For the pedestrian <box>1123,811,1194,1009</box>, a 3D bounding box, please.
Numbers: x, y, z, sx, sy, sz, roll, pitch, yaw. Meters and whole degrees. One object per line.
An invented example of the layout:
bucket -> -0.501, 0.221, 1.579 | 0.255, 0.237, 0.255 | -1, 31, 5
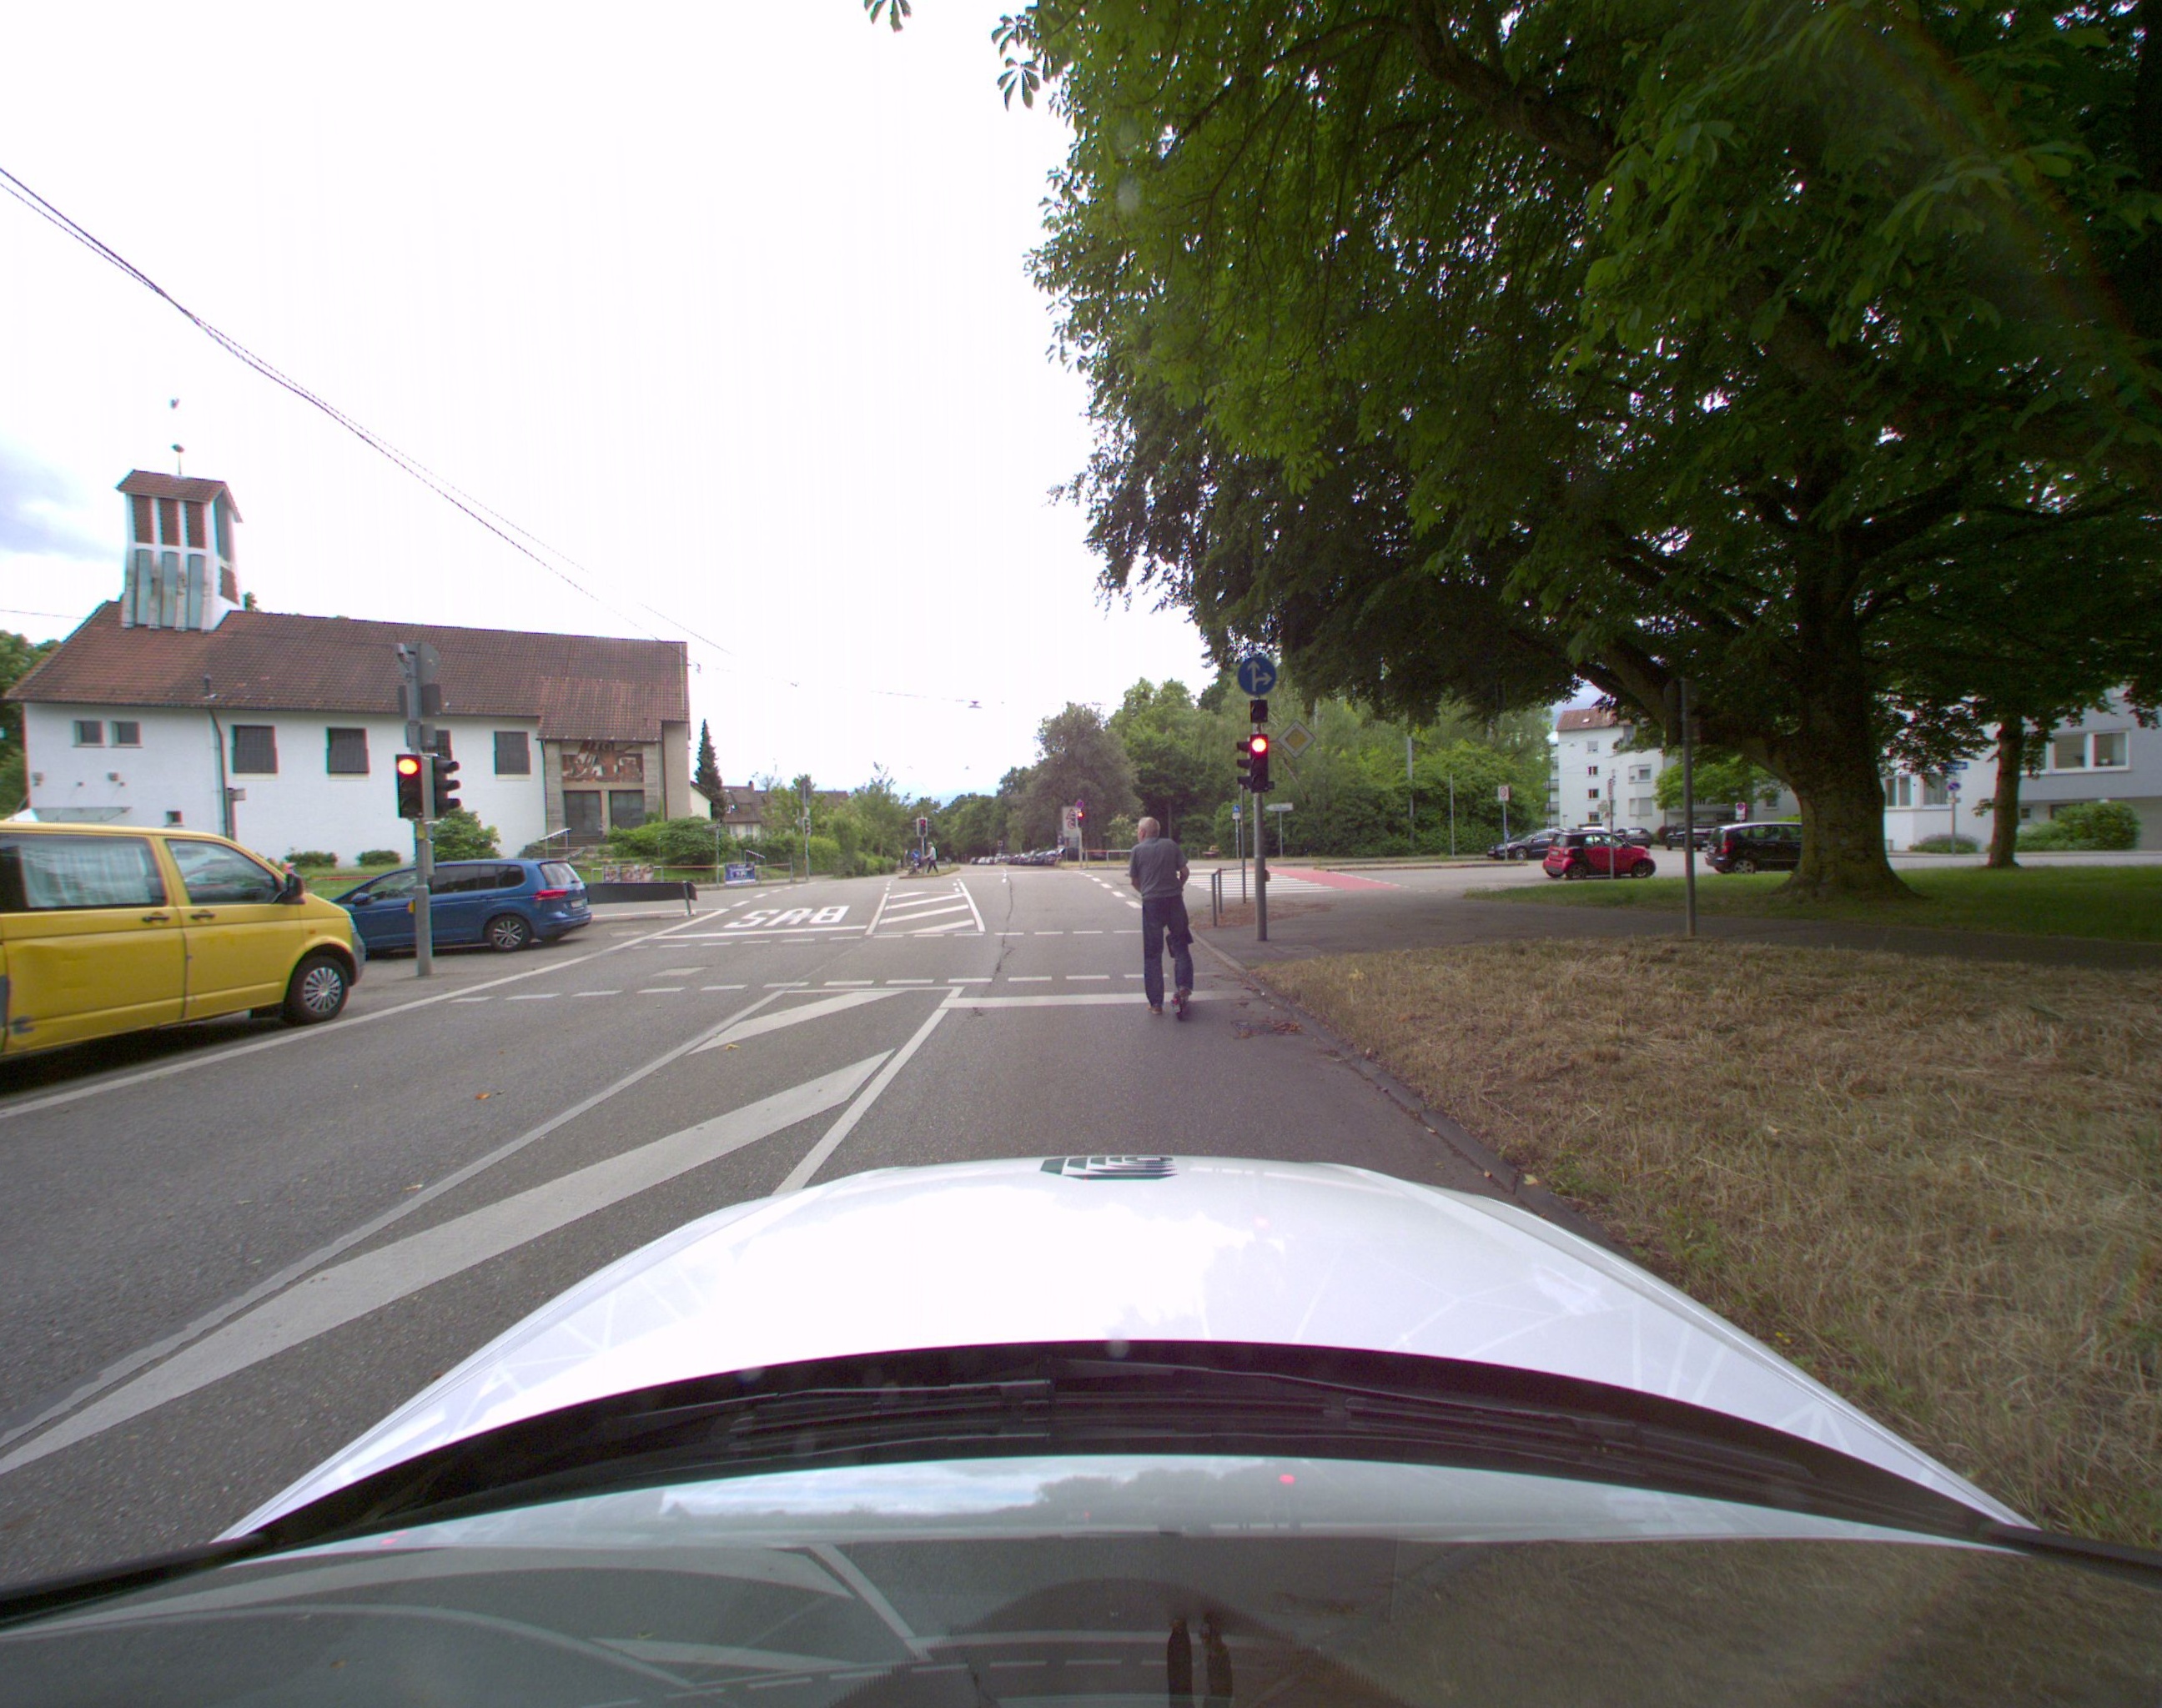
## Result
pedestrian -> 0.744, 0.520, 7.729 | 0.569, 1.813, 0.421 | -2, 0, 10

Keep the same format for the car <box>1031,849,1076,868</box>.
car -> -2.603, 0.427, 77.057 | 3.857, 1.610, 1.715 | -3, 1, -22

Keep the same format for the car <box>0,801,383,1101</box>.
car -> -8.300, 0.682, 6.390 | 1.880, 2.013, 4.558 | -2, 0, -5

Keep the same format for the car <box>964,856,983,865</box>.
car -> -23.346, 1.360, 176.494 | 3.856, 1.610, 1.716 | -3, 1, -21

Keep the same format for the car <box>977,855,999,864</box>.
car -> -18.174, 1.062, 159.500 | 3.856, 1.610, 1.716 | -3, 1, -21

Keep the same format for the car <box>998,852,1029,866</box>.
car -> -9.068, 0.629, 109.400 | 3.856, 1.610, 1.716 | -3, 1, -21

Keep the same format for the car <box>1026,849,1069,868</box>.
car -> -3.290, 0.436, 79.617 | 3.856, 1.610, 1.716 | -3, 1, -21

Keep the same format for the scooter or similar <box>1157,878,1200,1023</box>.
scooter or similar -> 0.913, 0.841, 7.521 | 0.280, 1.178, 1.180 | -2, 0, 10

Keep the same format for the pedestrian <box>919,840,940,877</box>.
pedestrian -> -7.781, 0.243, 41.865 | 0.889, 1.862, 0.569 | -2, 0, -27

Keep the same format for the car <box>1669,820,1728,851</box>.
car -> 35.561, -1.088, 46.983 | 1.707, 1.610, 3.875 | -3, 1, 22

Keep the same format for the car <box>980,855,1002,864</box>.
car -> -17.348, 1.058, 156.908 | 3.856, 1.610, 1.716 | -3, 1, -21

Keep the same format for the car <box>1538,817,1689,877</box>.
car -> 16.521, -0.217, 25.412 | 3.499, 1.610, 1.732 | -3, 0, 7

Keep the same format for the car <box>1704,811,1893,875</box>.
car -> 20.828, -0.304, 23.855 | 3.805, 1.610, 1.739 | -3, 1, 27

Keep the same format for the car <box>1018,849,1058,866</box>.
car -> -4.613, 0.384, 87.003 | 3.856, 1.610, 1.716 | -3, 1, -21

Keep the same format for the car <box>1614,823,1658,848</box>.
car -> 38.946, -1.300, 57.194 | 1.707, 1.610, 3.875 | -3, 1, 22

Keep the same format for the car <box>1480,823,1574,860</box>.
car -> 21.105, -0.576, 38.656 | 3.498, 1.530, 1.732 | -3, 0, 8

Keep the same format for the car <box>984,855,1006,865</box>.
car -> -16.370, 1.096, 154.750 | 3.856, 1.610, 1.716 | -3, 1, -21

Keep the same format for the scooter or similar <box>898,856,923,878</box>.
scooter or similar -> -8.669, 0.669, 41.392 | 1.114, 1.081, 0.572 | -2, 0, -28

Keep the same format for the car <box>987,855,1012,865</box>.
car -> -14.352, 1.073, 143.389 | 3.856, 1.610, 1.716 | -3, 1, -21

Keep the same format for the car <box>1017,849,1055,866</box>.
car -> -4.946, 0.389, 89.425 | 3.856, 1.610, 1.716 | -3, 1, -21

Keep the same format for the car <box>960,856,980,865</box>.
car -> -24.362, 1.456, 178.815 | 3.856, 1.610, 1.716 | -3, 1, -21

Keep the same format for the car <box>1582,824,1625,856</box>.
car -> 28.779, -0.807, 44.948 | 1.706, 1.610, 3.878 | -3, 1, 30

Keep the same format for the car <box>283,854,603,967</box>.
car -> -11.067, 0.911, 14.475 | 3.992, 1.610, 1.810 | -3, 0, -14

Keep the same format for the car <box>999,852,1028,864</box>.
car -> -10.144, 0.575, 122.404 | 3.856, 1.610, 1.716 | -3, 1, -21
